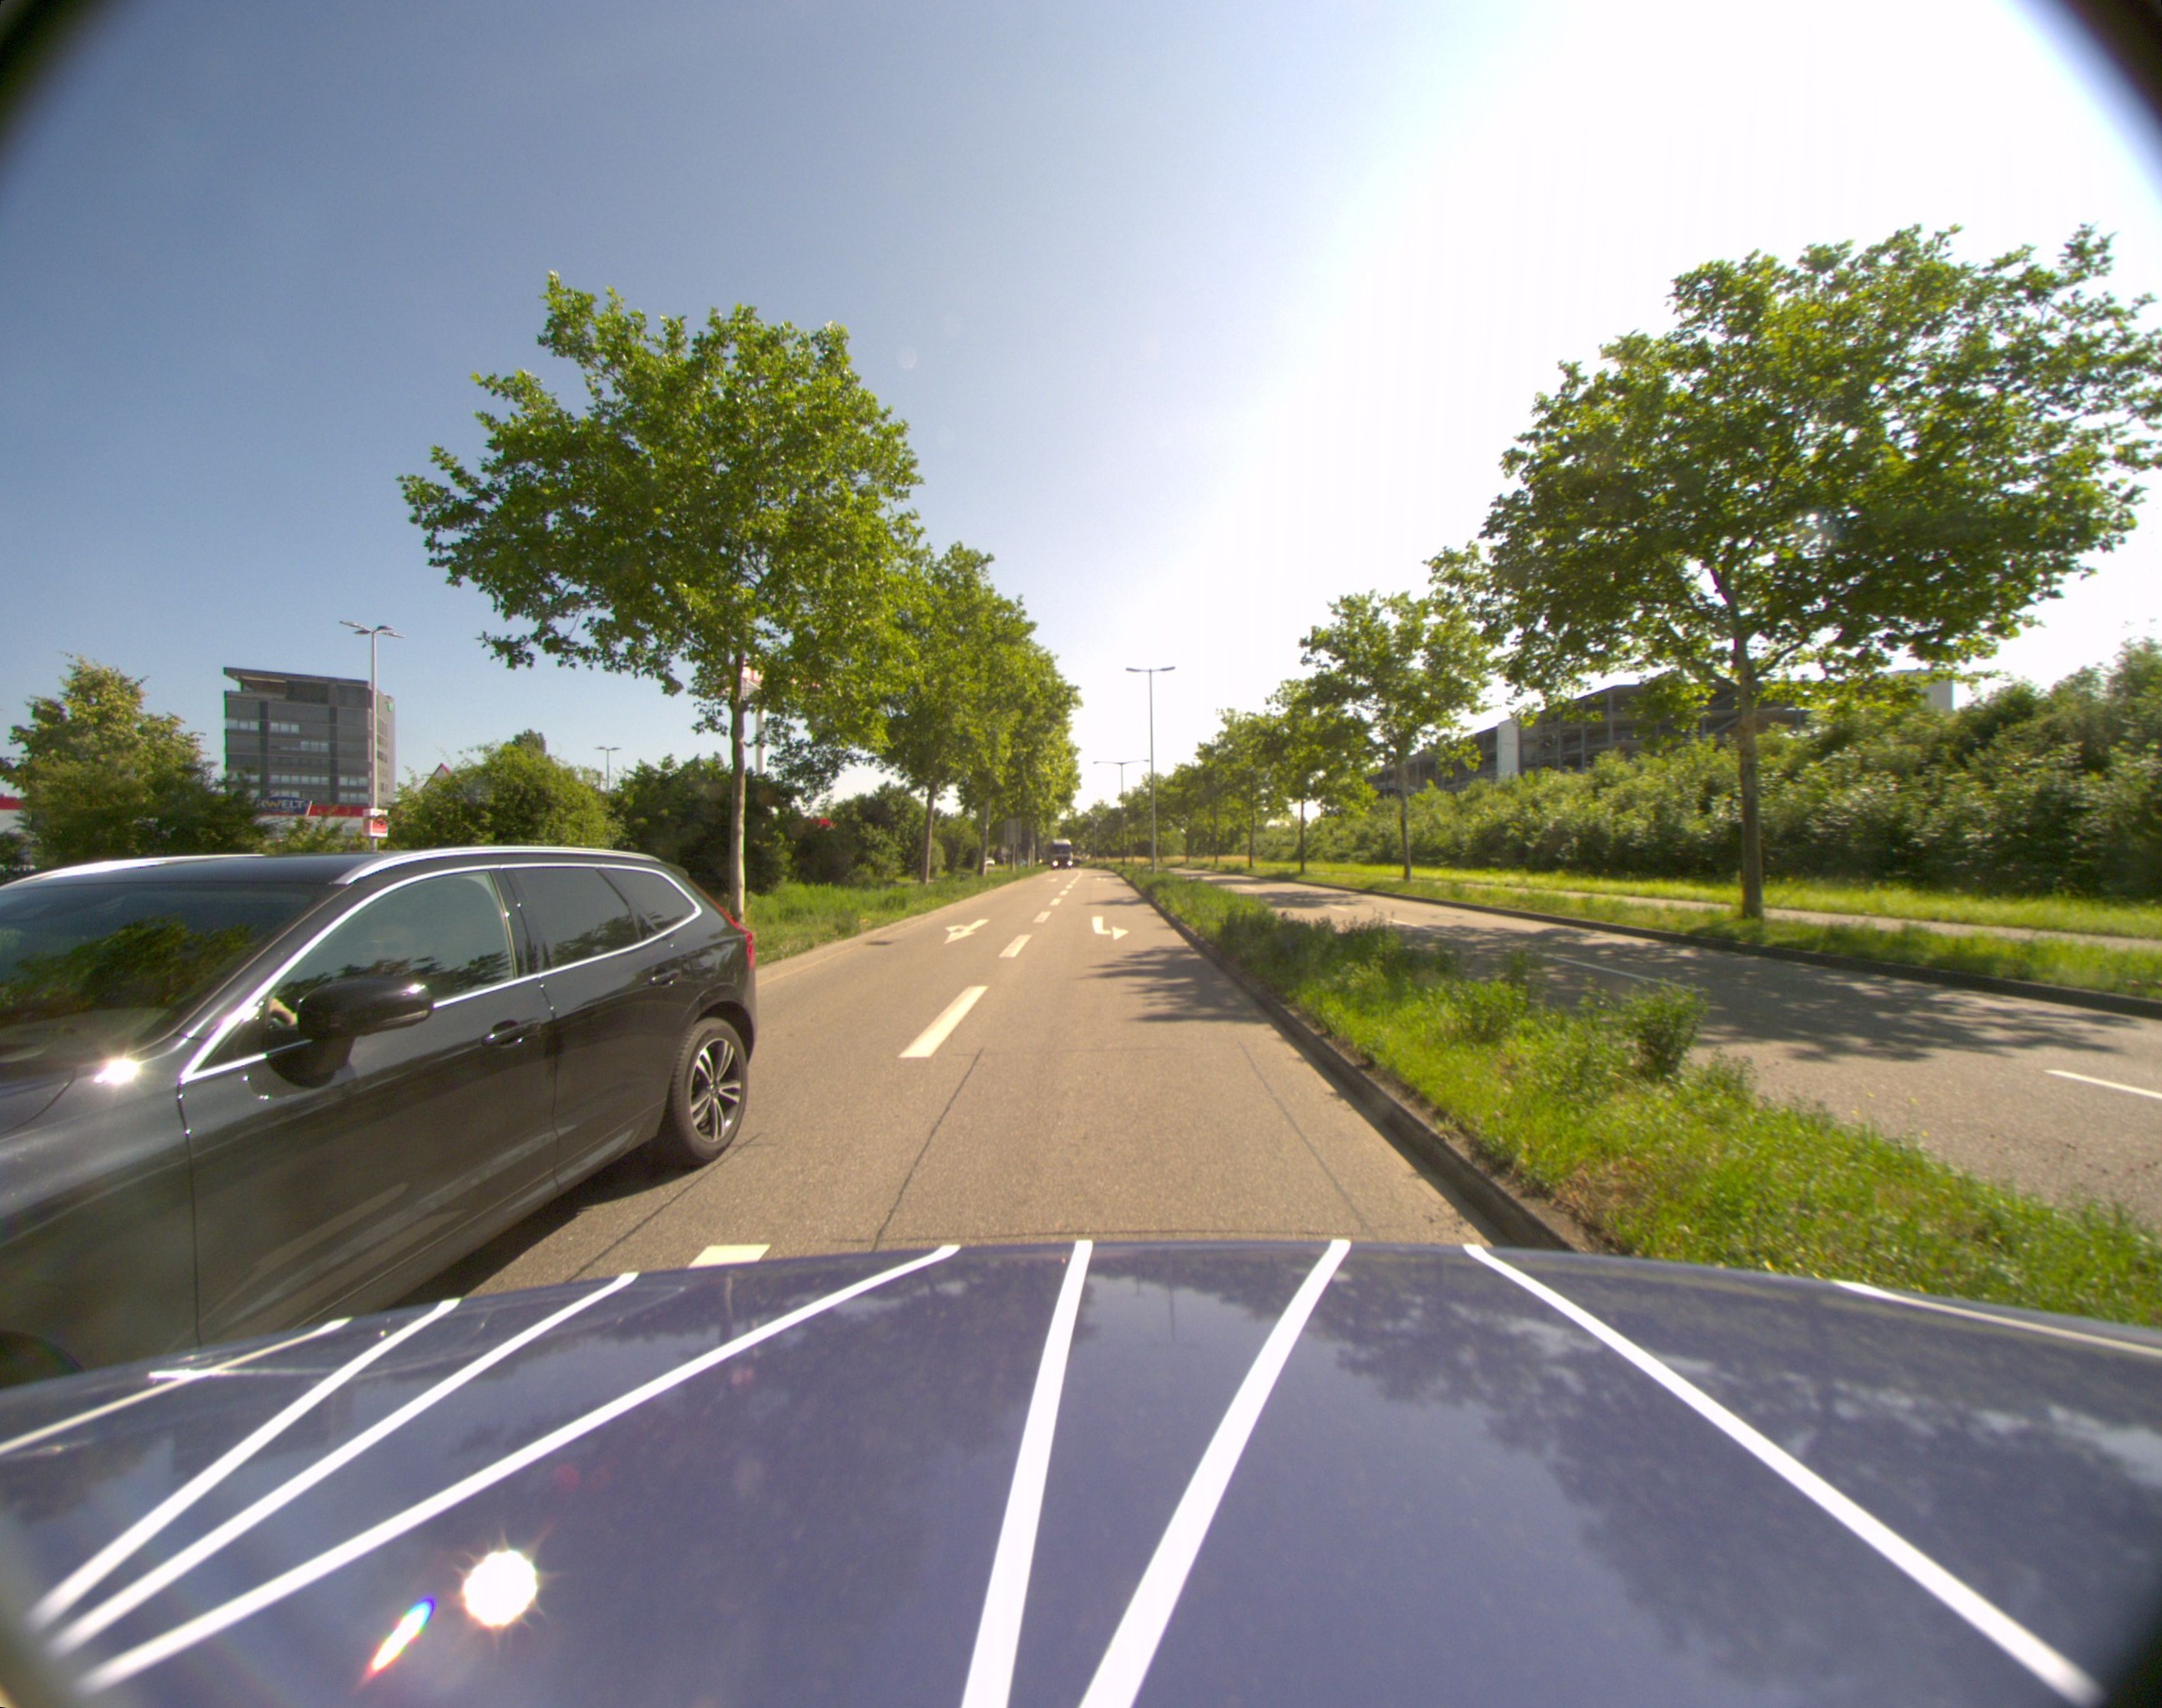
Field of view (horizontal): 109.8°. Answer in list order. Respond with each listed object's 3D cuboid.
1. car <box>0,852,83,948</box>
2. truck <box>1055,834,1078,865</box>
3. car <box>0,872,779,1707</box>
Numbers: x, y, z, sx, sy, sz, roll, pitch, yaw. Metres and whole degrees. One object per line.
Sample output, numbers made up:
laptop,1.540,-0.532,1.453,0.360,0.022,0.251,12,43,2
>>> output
car,-20.568,0.853,13.313,3.830,1.661,1.687,-2,1,0
truck,-1.878,-0.591,100.732,2.741,3.872,5.850,-2,1,0
car,-2.844,0.966,2.361,1.924,1.613,4.564,-2,1,0
